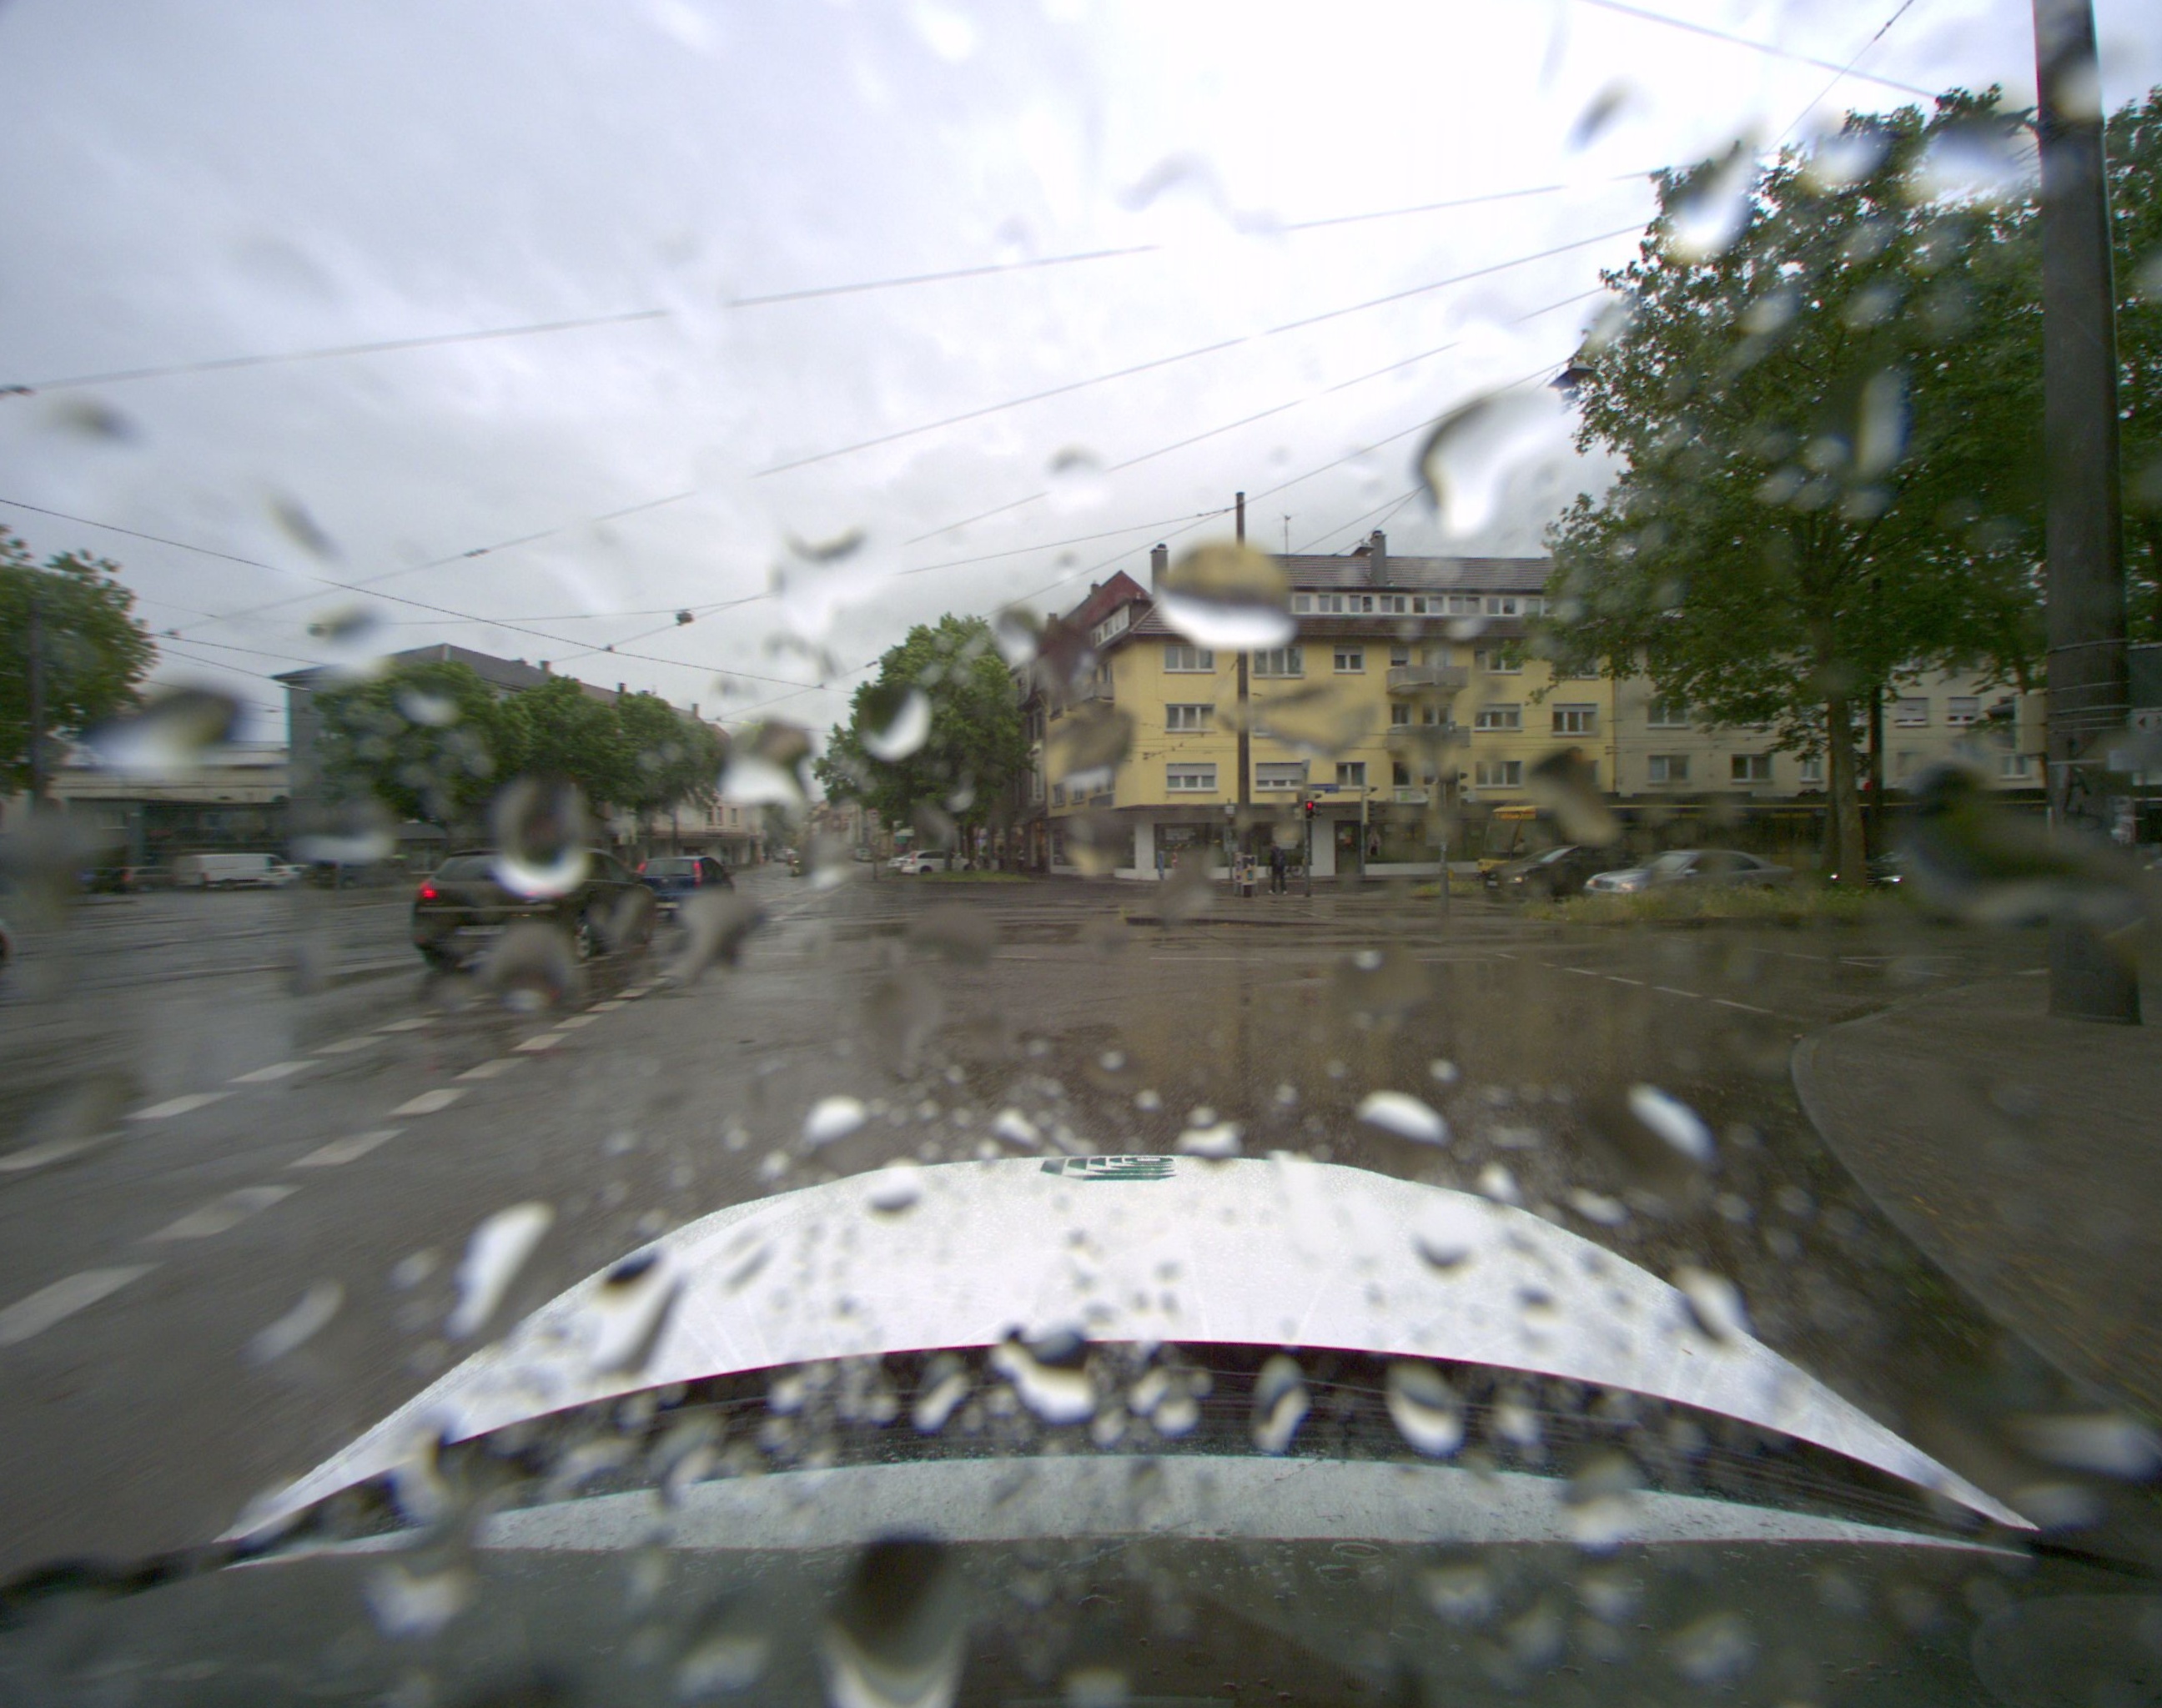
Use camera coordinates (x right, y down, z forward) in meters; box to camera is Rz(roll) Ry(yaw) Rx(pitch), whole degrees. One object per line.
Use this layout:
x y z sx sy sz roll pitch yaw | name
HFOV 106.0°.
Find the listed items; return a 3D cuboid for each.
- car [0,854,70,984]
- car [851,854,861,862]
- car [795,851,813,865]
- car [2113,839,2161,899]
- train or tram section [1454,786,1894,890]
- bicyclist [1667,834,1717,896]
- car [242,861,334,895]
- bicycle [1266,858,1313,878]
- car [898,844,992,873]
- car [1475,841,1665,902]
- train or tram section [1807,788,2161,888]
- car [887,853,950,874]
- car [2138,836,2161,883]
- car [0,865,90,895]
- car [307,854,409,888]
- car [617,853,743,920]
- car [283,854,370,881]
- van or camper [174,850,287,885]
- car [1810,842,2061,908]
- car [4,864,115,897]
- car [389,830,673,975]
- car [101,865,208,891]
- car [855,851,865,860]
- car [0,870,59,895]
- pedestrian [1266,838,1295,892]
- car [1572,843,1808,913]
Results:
-13.241 0.784 8.430 1.816 1.536 4.156 -1 0 -25 | car
-37.267 0.684 135.030 1.479 1.363 3.442 1 -1 -17 | car
-33.994 0.534 99.962 1.999 1.689 3.975 1 -1 -18 | car
29.193 0.340 20.558 4.408 1.480 1.745 -1 1 -4 | car
21.531 -0.570 29.979 14.498 3.558 3.112 0 0 -4 | train or tram section
17.179 0.308 22.925 0.886 1.716 0.713 0 0 -7 | bicyclist
-50.849 1.482 52.316 1.987 2.013 3.999 0 0 -1 | car
9.671 0.638 37.877 2.035 0.897 0.613 -1 0 -4 | bicycle
-7.821 0.237 47.029 4.999 1.474 1.983 -2 1 -26 | car
13.305 0.435 22.269 4.268 1.501 1.874 -1 1 -9 | car
35.922 -0.591 31.181 14.604 3.558 3.110 0 0 -6 | train or tram section
-13.126 0.726 66.021 4.558 1.556 2.003 -1 1 5 | car
34.331 0.135 24.117 4.108 1.397 1.745 -1 1 -4 | car
-69.756 1.699 54.367 1.980 1.764 4.015 -1 1 13 | car
-45.664 1.016 51.589 2.047 2.013 4.413 0 0 13 | car
-9.580 0.790 19.807 1.884 1.459 3.814 0 -3 -13 | car
-48.654 0.819 52.633 1.915 1.618 3.999 0 0 -1 | car
-53.600 0.859 51.474 1.983 2.075 4.662 0 -1 6 | van or camper
21.319 0.488 20.432 4.615 1.485 1.860 -1 1 -4 | car
-66.217 1.692 52.860 1.978 1.929 4.018 0 0 17 | car
-7.575 0.554 11.790 1.801 1.709 4.177 0 0 -9 | car
-59.035 1.555 52.005 1.982 1.614 4.008 -1 -2 8 | car
-35.077 0.183 129.116 1.479 1.363 3.442 1 -1 -17 | car
-72.194 1.903 54.656 1.768 1.656 4.013 0 -1 13 | car
6.321 0.343 25.884 0.807 1.677 1.019 -1 0 9 | pedestrian
14.391 0.532 19.361 4.477 1.489 1.738 -1 1 -5 | car
